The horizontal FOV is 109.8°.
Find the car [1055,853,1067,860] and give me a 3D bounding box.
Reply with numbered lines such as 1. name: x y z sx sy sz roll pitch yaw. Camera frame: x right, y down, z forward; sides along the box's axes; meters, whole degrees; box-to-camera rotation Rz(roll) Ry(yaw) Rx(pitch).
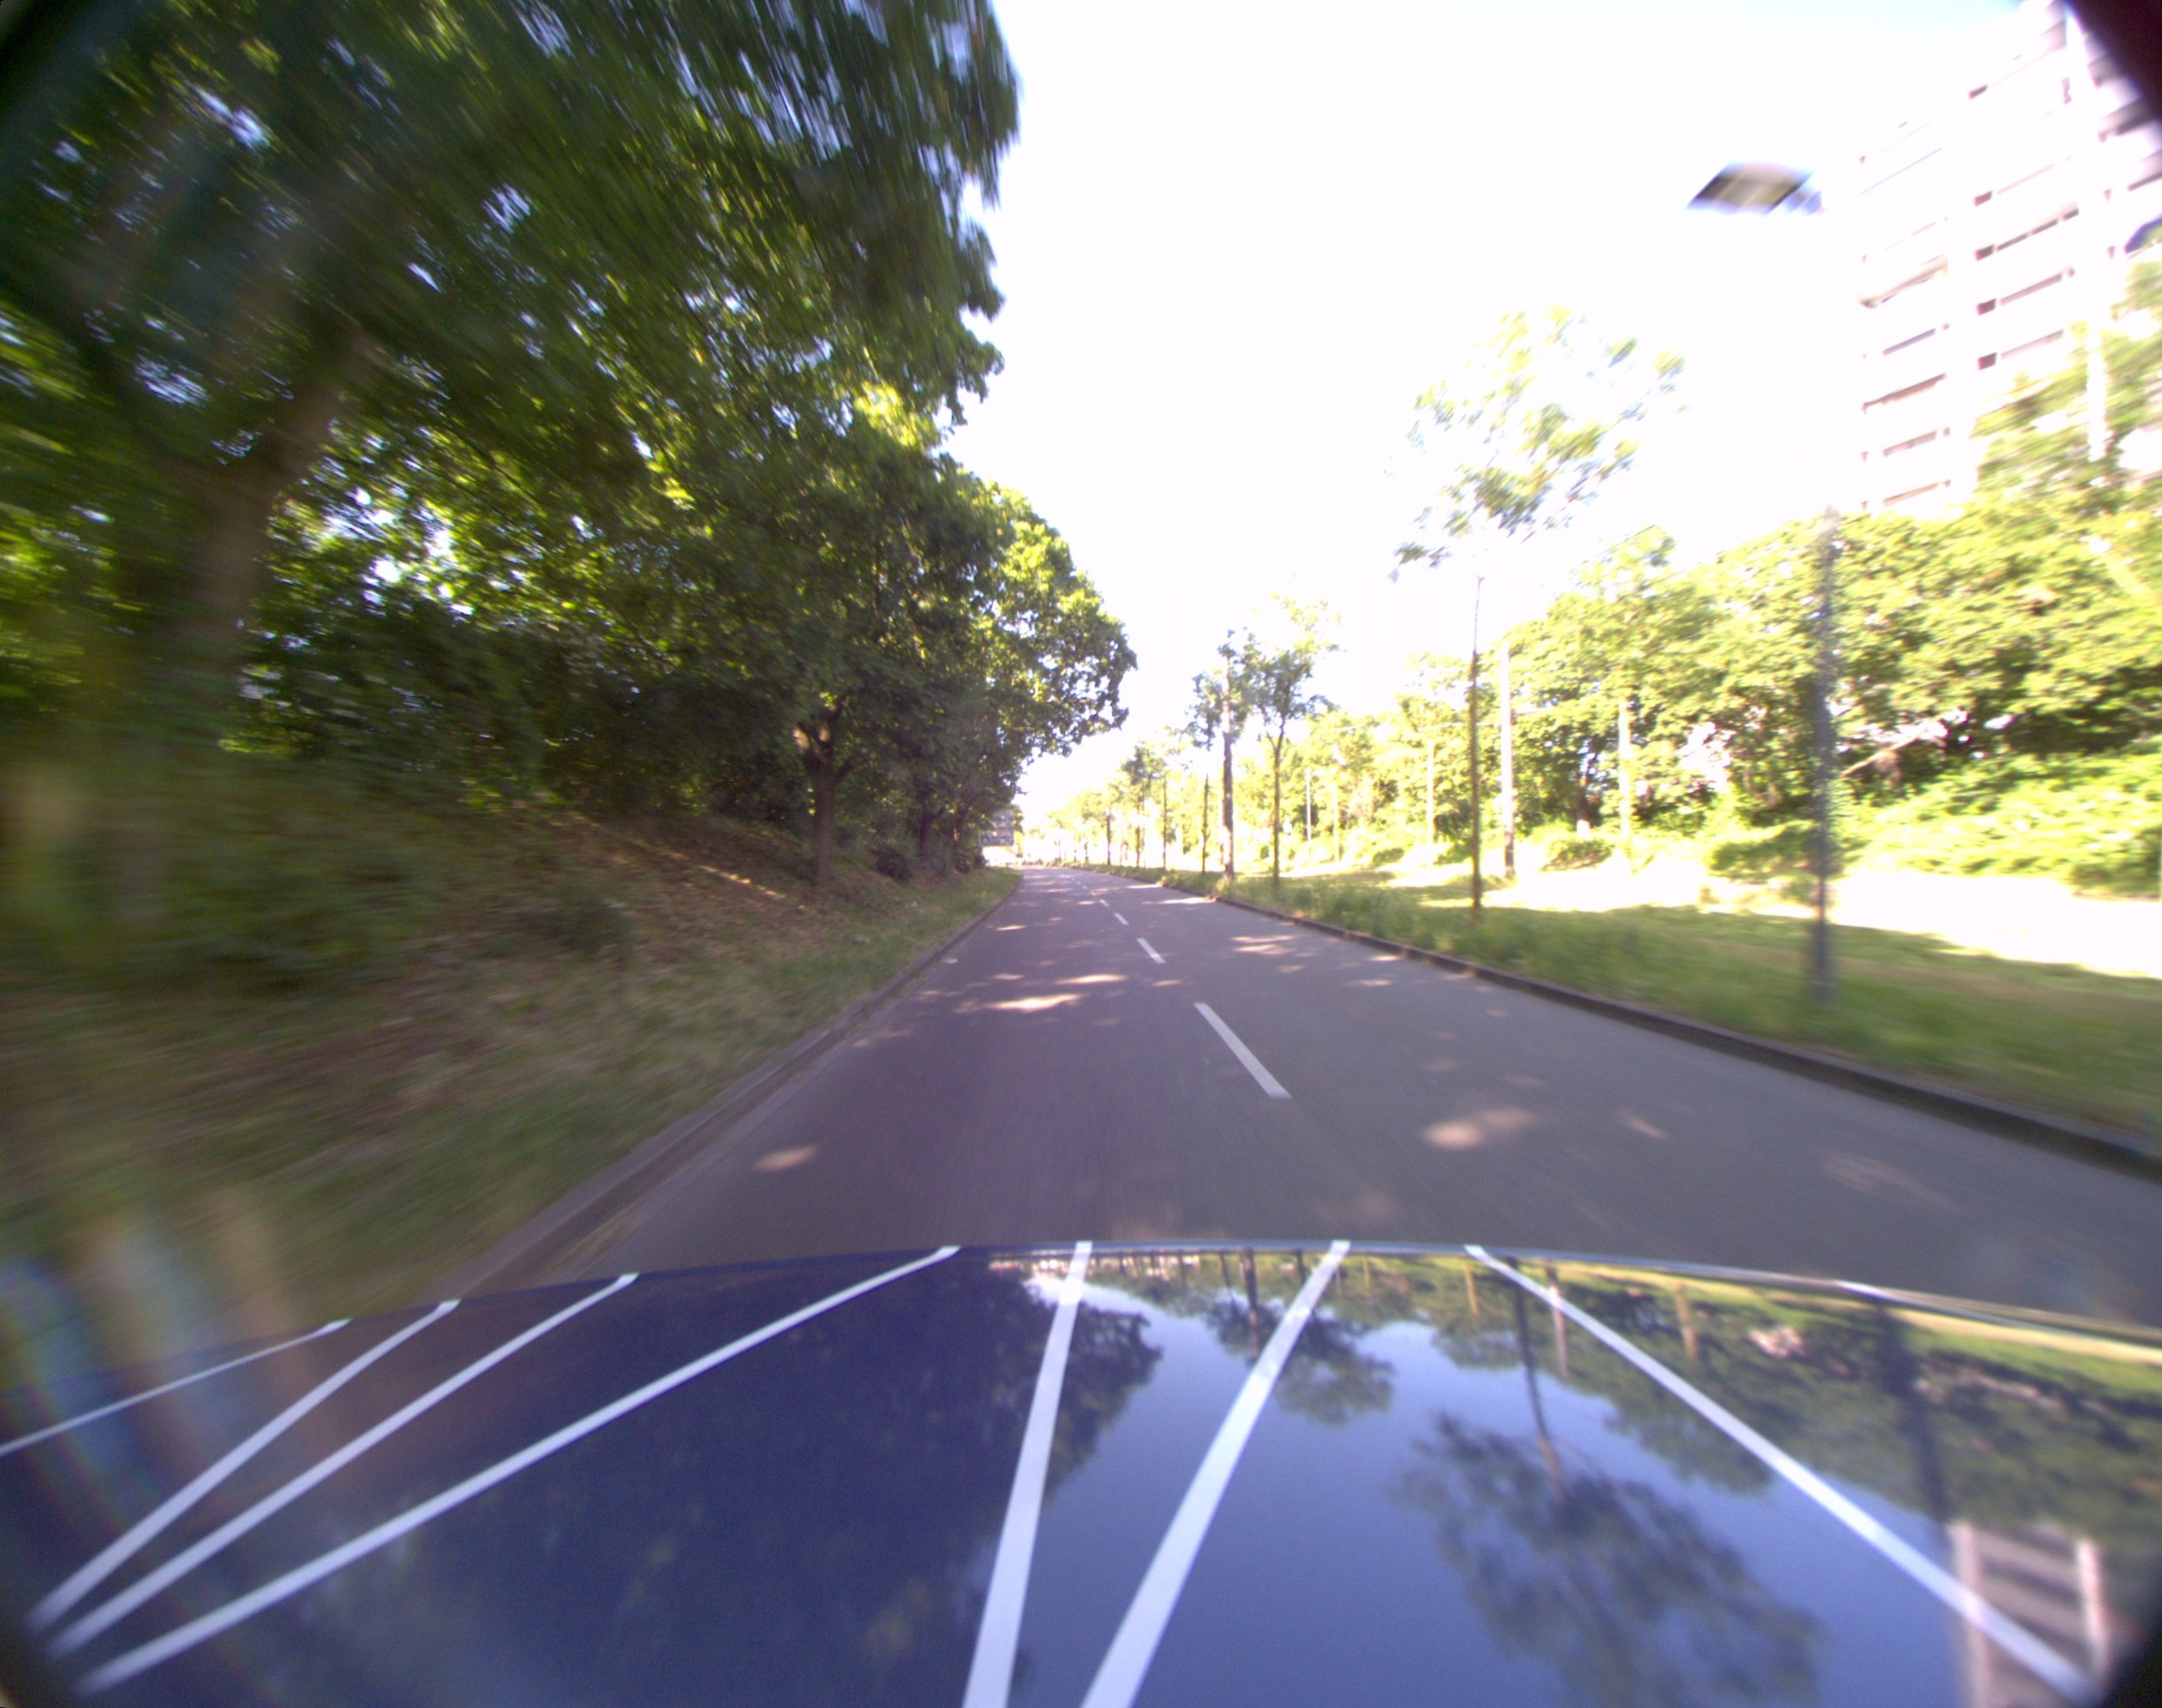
1. car: -4.938 0.632 186.328 1.827 1.630 4.484 -1 -3 -19

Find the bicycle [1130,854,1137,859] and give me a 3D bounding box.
1. bicycle: 13.336 0.745 193.663 0.720 1.205 2.548 -1 0 -20
